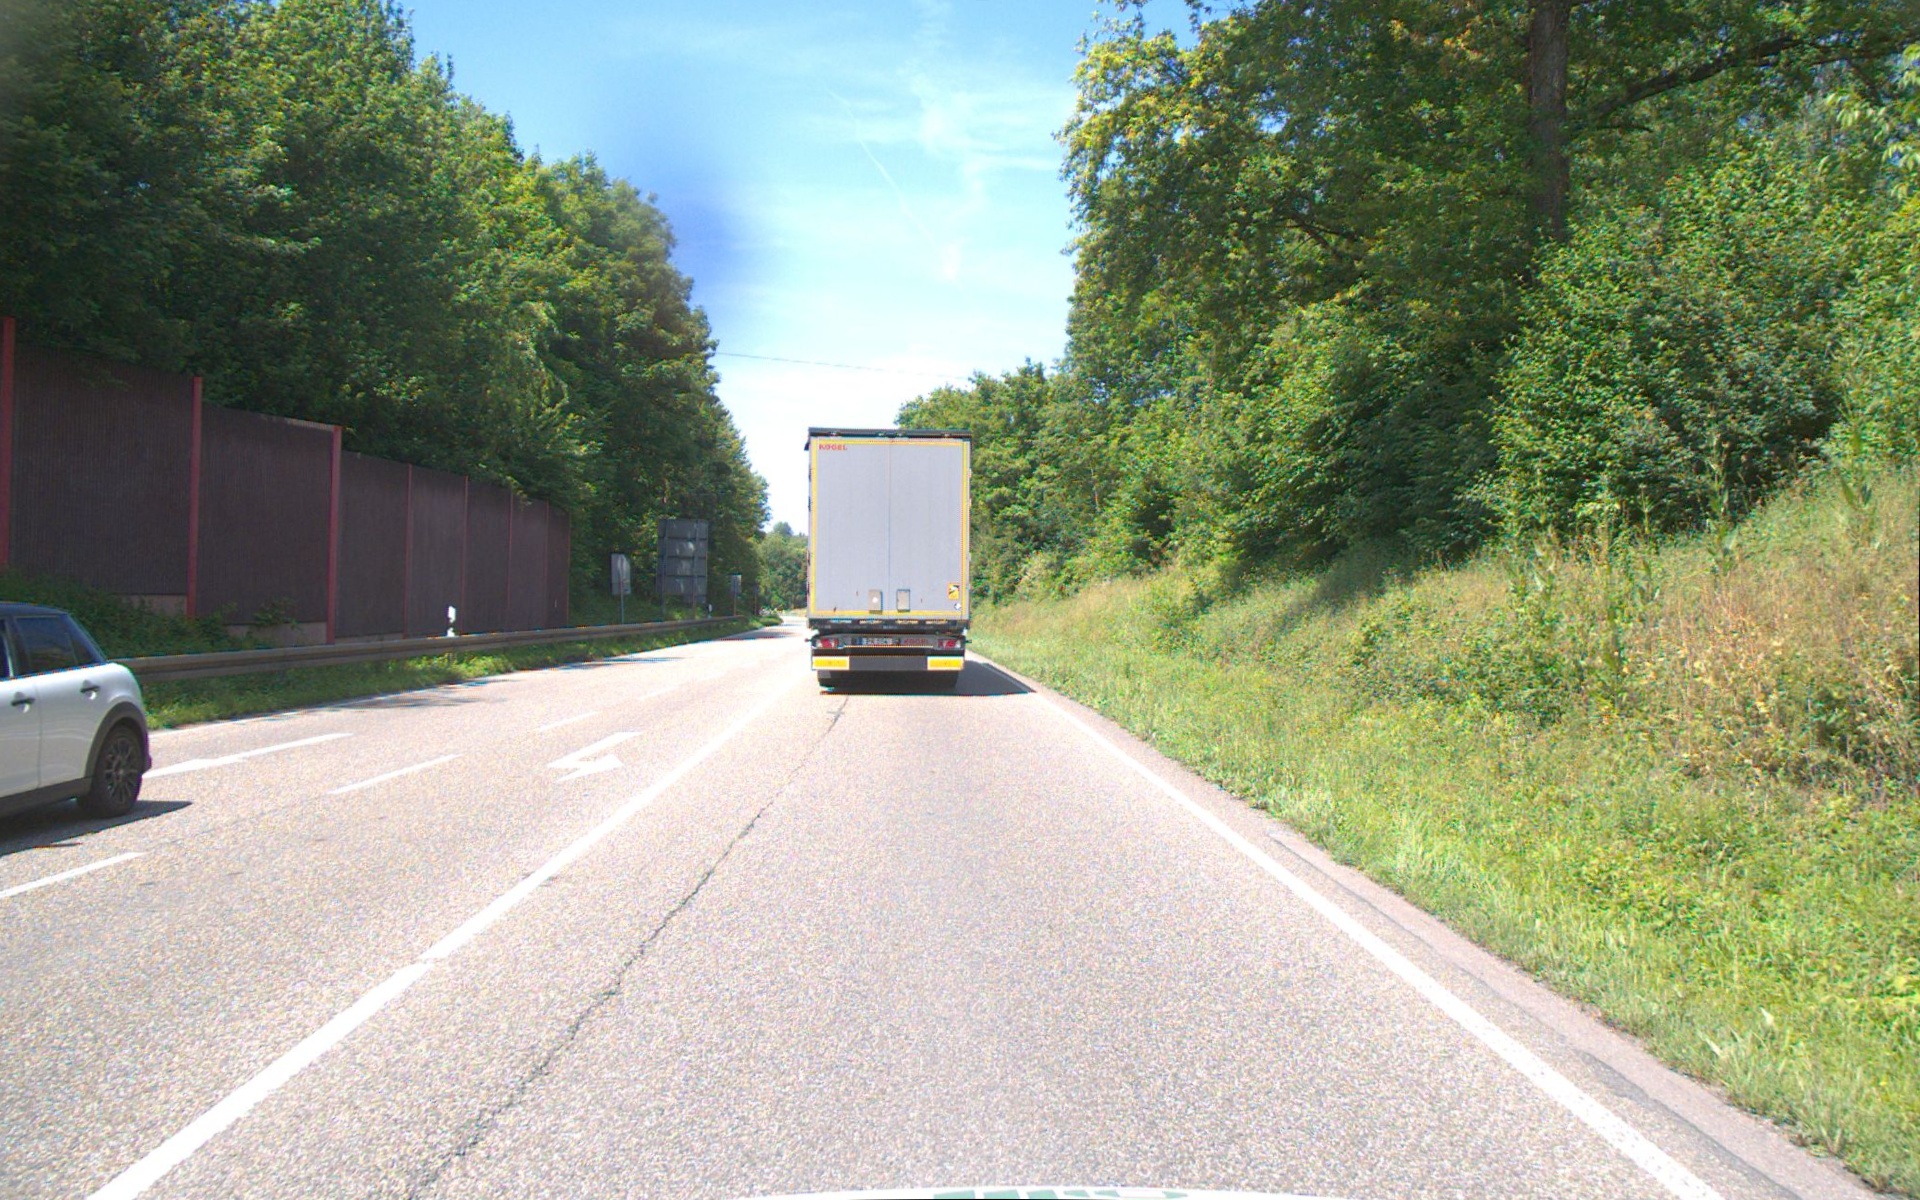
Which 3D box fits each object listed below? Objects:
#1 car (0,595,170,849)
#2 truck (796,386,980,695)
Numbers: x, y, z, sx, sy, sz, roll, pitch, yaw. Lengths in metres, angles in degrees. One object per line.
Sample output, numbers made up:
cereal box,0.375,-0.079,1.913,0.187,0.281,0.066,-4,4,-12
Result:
car,-6.434,0.709,9.688,1.769,1.460,3.871,0,0,0
truck,-1.188,-0.954,28.461,2.765,4.684,6.663,0,1,-2
